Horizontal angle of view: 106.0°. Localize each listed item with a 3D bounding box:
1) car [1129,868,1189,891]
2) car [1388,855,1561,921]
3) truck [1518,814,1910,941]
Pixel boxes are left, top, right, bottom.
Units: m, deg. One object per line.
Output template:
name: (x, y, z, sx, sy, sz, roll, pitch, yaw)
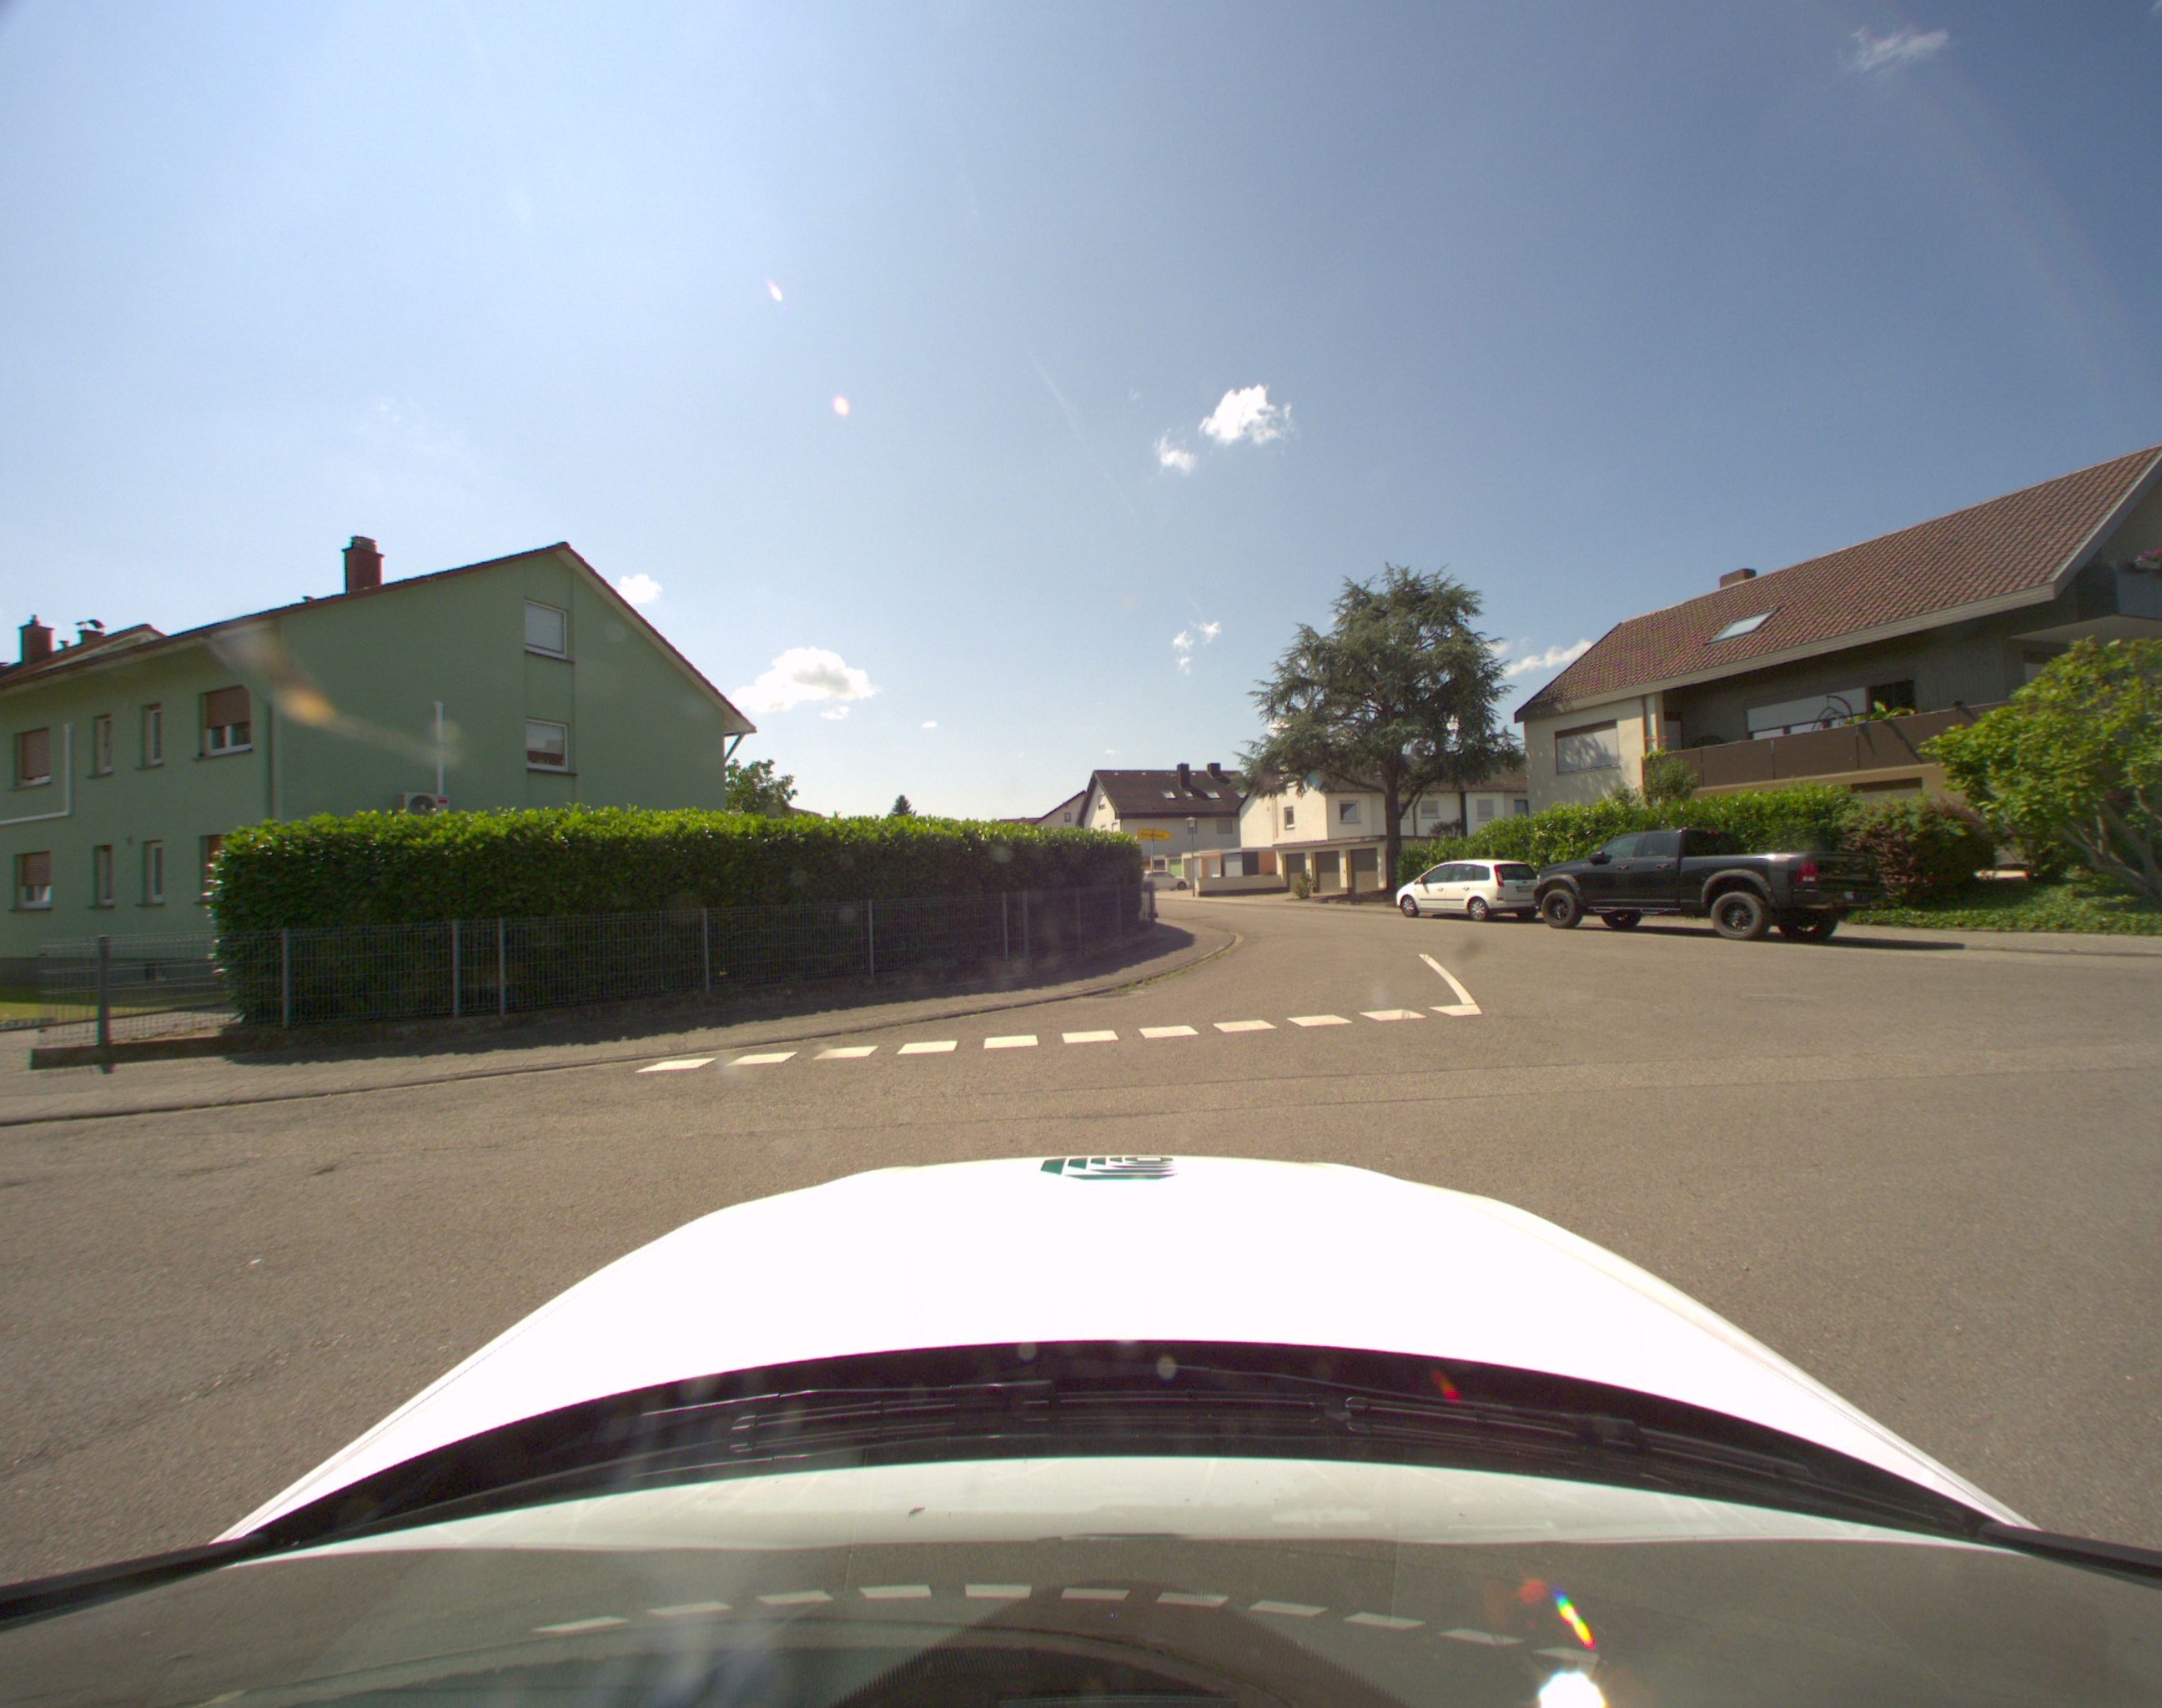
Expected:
car: (5.308, 1.724, 55.512, 3.608, 1.408, 1.773, -2, -1, -17)
car: (10.515, 0.901, 22.128, 1.803, 1.563, 4.116, -1, -1, -19)
truck: (11.853, 0.503, 15.957, 2.371, 2.014, 5.673, 2, -3, -20)
